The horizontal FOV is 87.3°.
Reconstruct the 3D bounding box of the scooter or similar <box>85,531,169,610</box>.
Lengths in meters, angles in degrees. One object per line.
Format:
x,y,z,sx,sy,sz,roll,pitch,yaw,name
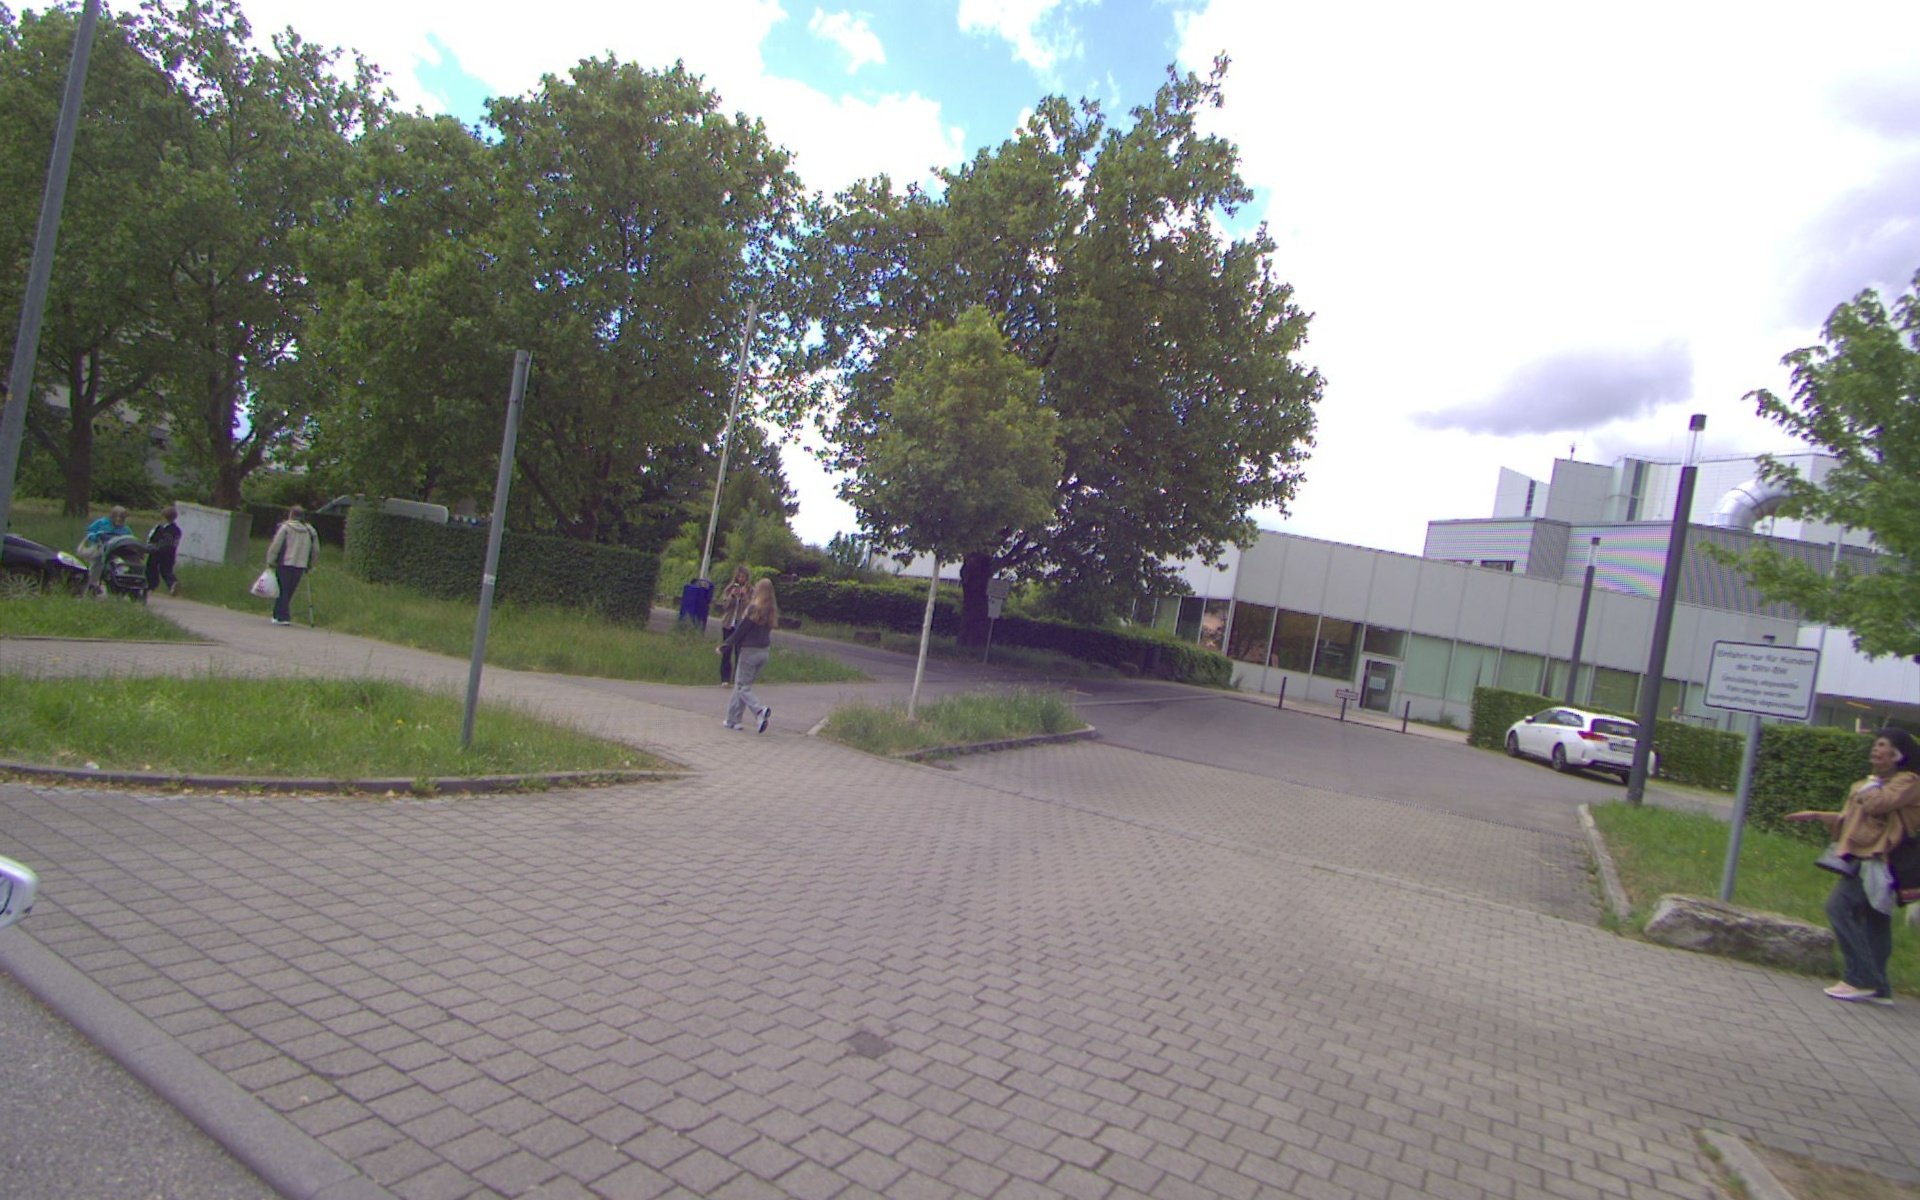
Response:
-12.639,-0.448,15.263,0.928,1.035,0.581,8,-1,29,scooter or similar

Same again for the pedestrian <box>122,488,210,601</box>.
-13.905,-0.965,17.628,0.863,1.813,0.741,8,-1,29,pedestrian

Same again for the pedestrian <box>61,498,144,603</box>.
-13.325,-0.768,15.636,0.723,1.485,0.620,8,-1,29,pedestrian

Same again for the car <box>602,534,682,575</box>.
-17.985,-2.545,56.876,3.955,1.591,1.754,10,-2,-26,car

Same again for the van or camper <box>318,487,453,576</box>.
-23.700,-2.762,41.682,4.434,2.830,2.099,10,-2,-29,van or camper

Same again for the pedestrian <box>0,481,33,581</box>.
-18.273,-1.350,18.980,0.863,1.813,0.741,8,-1,29,pedestrian

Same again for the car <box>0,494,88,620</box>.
-13.312,-0.753,12.219,1.618,1.515,3.678,8,-2,31,car

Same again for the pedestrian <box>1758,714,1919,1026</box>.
5.622,1.614,6.083,0.880,1.688,0.653,8,-1,11,pedestrian

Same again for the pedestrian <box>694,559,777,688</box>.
-3.245,0.343,14.573,0.695,1.731,0.654,8,-1,35,pedestrian

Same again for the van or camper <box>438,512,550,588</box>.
-22.146,-2.320,47.983,4.427,2.830,2.103,9,-2,-25,van or camper

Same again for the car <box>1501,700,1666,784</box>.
14.727,3.310,24.055,1.677,1.406,4.125,8,-2,8,car

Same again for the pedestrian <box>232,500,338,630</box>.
-10.337,-0.529,15.419,0.863,1.813,0.833,8,-1,29,pedestrian

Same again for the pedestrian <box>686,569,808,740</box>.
-2.259,0.566,10.625,0.685,1.639,0.921,9,-1,-42,pedestrian
